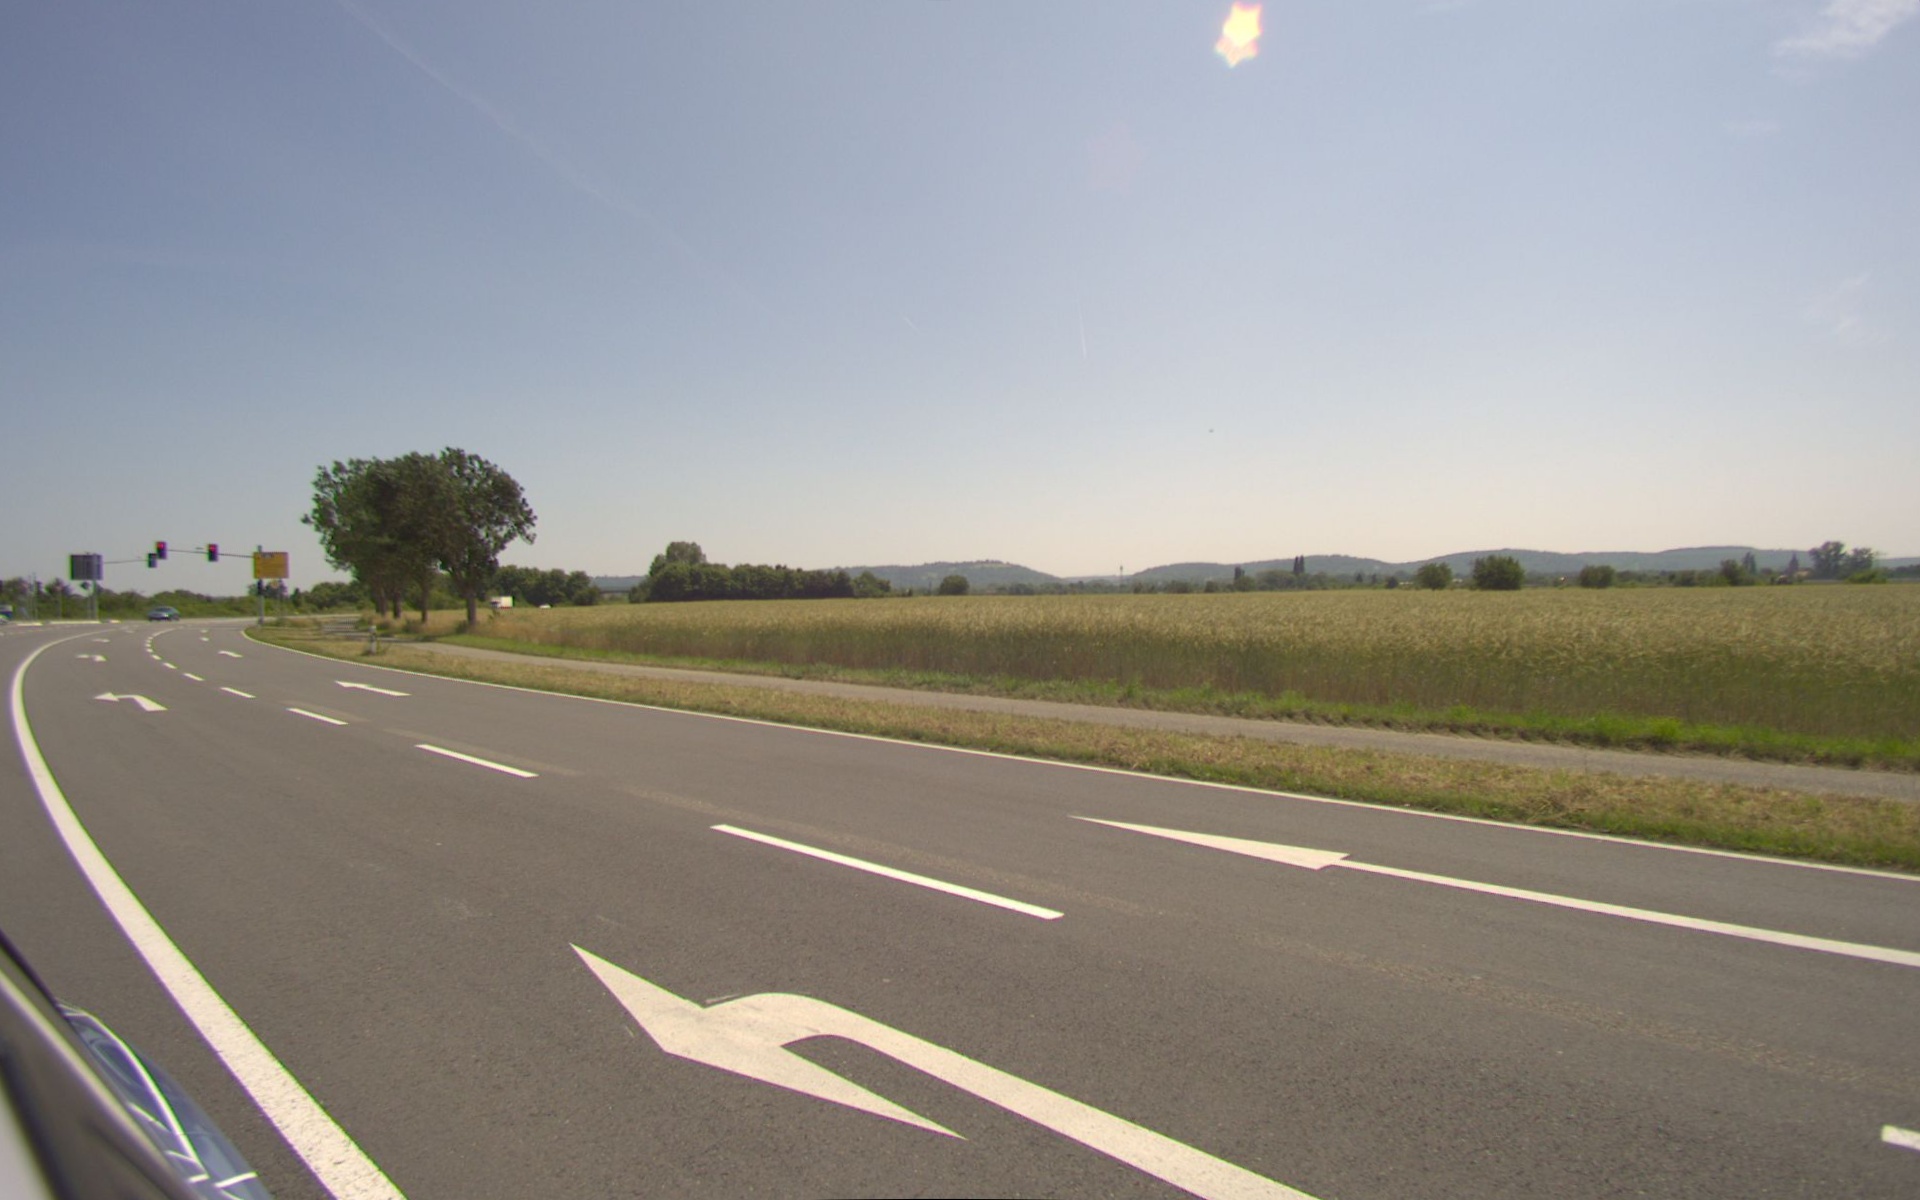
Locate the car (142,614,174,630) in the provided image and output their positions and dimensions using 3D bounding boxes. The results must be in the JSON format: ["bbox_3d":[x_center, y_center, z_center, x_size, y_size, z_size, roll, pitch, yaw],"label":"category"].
[{"bbox_3d":[-78.606,2.129,99.271,1.629,1.578,4.013,0,-1,-26],"label":"car"}]
